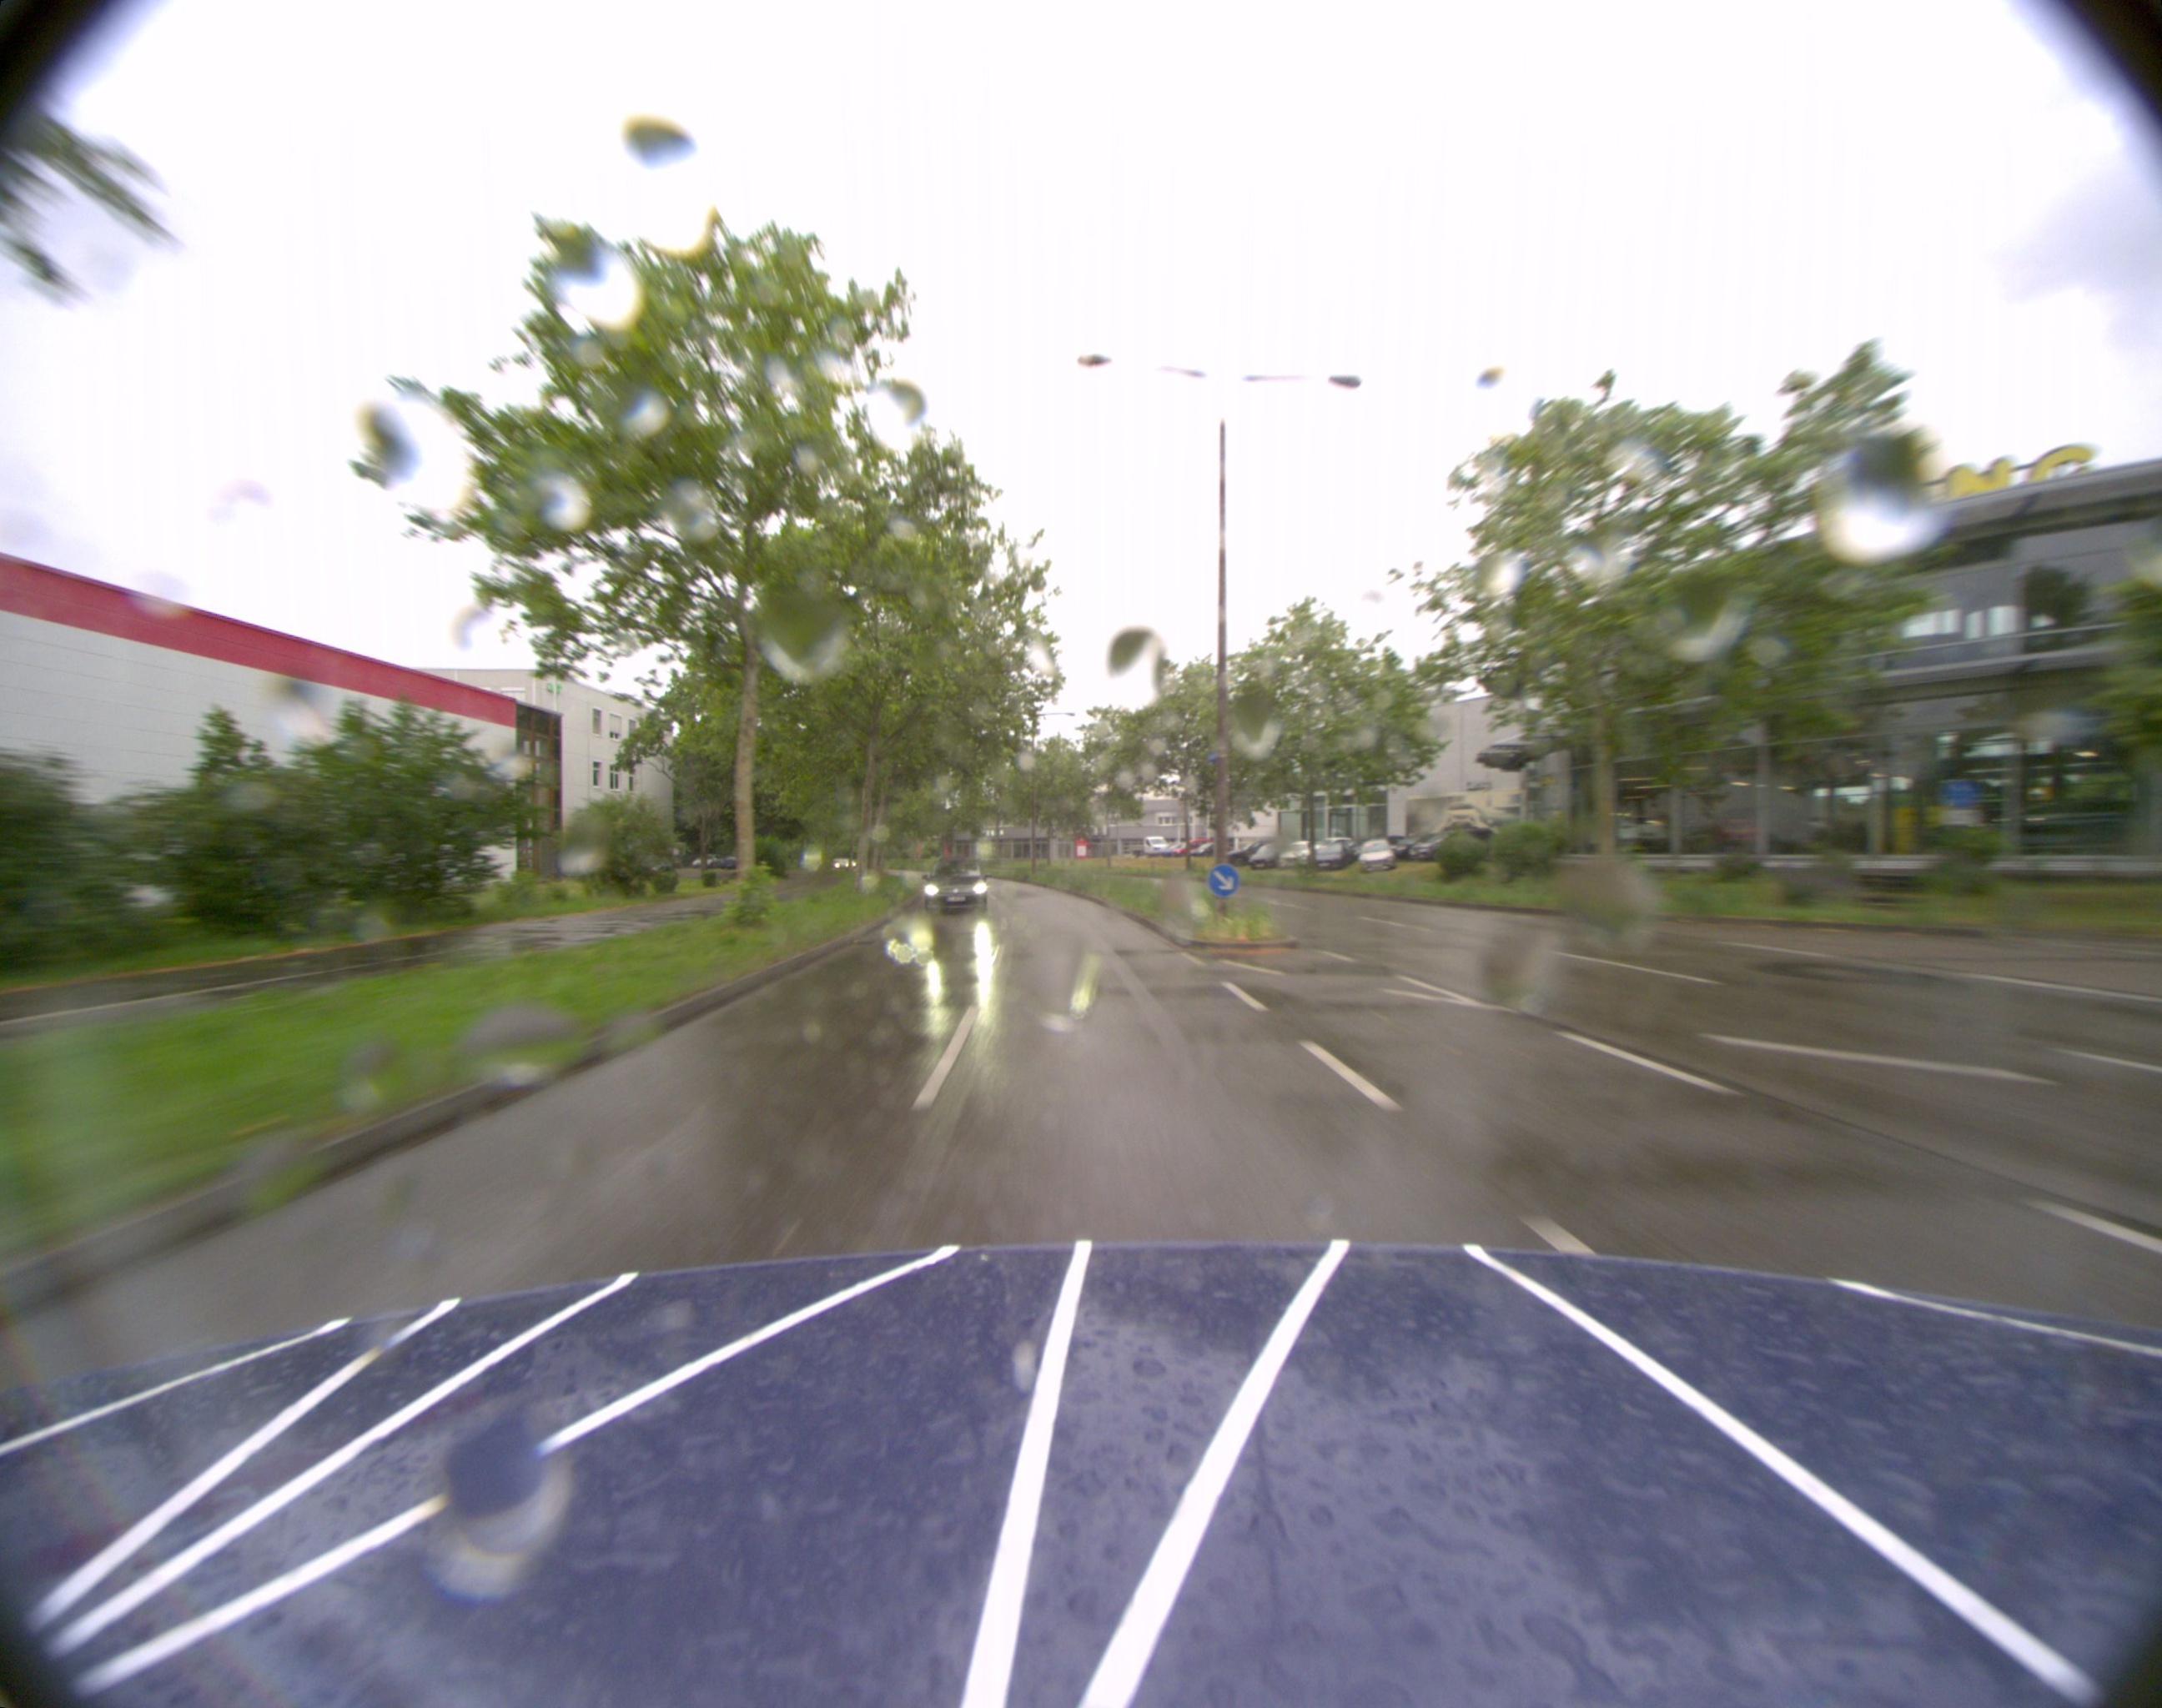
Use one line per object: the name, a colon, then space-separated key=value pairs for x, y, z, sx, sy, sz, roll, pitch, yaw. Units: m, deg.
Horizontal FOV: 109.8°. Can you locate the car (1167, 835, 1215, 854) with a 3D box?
car: x=10.402 y=-0.906 z=71.833 sx=4.012 sy=1.548 sz=1.844 roll=-4 pitch=1 yaw=-23

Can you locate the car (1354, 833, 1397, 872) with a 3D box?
car: x=15.407 y=-0.106 z=39.656 sx=1.781 sy=1.468 sz=4.003 roll=-7 pitch=2 yaw=24

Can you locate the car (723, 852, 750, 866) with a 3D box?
car: x=-36.038 y=0.503 z=79.655 sx=1.598 sy=1.350 sz=3.703 roll=-1 pitch=1 yaw=-9

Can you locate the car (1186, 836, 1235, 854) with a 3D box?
car: x=11.828 y=-0.845 z=69.380 sx=4.012 sy=1.349 sz=1.844 roll=-4 pitch=1 yaw=-23

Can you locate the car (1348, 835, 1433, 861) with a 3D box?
car: x=18.967 y=-0.385 z=46.715 sx=4.432 sy=1.465 sz=1.920 roll=-1 pitch=1 yaw=3

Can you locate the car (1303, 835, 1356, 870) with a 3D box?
car: x=14.335 y=-0.093 z=43.648 sx=1.843 sy=1.415 sz=4.134 roll=-7 pitch=3 yaw=32

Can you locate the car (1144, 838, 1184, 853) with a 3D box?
car: x=8.374 y=-0.855 z=76.414 sx=3.537 sy=1.319 sz=1.765 roll=-4 pitch=1 yaw=-23

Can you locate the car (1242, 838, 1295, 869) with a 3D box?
car: x=12.573 y=-0.072 z=50.673 sx=1.843 sy=1.471 sz=4.134 roll=-6 pitch=3 yaw=36

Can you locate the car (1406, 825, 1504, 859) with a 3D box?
car: x=20.530 y=-0.649 z=41.824 sx=4.432 sy=1.728 sz=1.920 roll=-1 pitch=1 yaw=3

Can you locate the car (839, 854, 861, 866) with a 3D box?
car: x=-31.540 y=0.821 z=103.571 sx=1.788 sy=1.546 sz=3.989 roll=-1 pitch=1 yaw=-34

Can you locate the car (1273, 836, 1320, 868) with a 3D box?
car: x=13.615 y=-0.148 z=47.918 sx=1.843 sy=1.471 sz=4.134 roll=-7 pitch=3 yaw=29

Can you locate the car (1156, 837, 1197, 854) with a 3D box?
car: x=9.329 y=-0.828 z=74.115 sx=3.537 sy=1.319 sz=1.765 roll=-4 pitch=1 yaw=-23

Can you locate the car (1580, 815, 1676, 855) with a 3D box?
car: x=21.833 y=-0.738 z=30.520 sx=1.781 sy=1.467 sz=4.117 roll=-1 pitch=1 yaw=15

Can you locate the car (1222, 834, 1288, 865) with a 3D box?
car: x=12.517 y=-0.348 z=54.772 sx=4.430 sy=1.548 sz=1.848 roll=-8 pitch=2 yaw=12

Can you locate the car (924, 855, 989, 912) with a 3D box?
car: x=-3.739 y=0.832 z=23.266 sx=1.785 sy=1.546 sz=3.997 roll=0 pitch=0 yaw=-8

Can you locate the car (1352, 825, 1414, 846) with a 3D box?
car: x=21.889 y=-1.360 z=55.039 sx=4.443 sy=1.465 sz=1.915 roll=-2 pitch=1 yaw=-31

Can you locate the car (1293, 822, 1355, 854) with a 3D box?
car: x=22.457 y=-1.468 z=70.207 sx=5.327 sy=2.737 sz=2.173 roll=-2 pitch=1 yaw=19

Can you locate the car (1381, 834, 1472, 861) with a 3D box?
car: x=20.004 y=-0.388 z=44.151 sx=4.432 sy=1.465 sz=1.920 roll=-1 pitch=1 yaw=3

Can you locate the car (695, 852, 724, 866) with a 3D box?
car: x=-38.925 y=0.507 z=79.716 sx=1.598 sy=1.412 sz=3.703 roll=-1 pitch=1 yaw=-9

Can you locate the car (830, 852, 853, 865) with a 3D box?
car: x=-30.536 y=0.551 z=96.821 sx=1.788 sy=1.546 sz=3.989 roll=-1 pitch=1 yaw=-34

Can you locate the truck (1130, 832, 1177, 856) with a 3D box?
truck: x=7.629 y=-1.028 z=80.882 sx=2.256 sy=2.331 sz=6.183 roll=-4 pitch=1 yaw=-22

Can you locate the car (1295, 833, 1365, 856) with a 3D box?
car: x=17.088 y=-0.663 z=52.210 sx=4.441 sy=1.465 sz=1.916 roll=-1 pitch=1 yaw=-25
